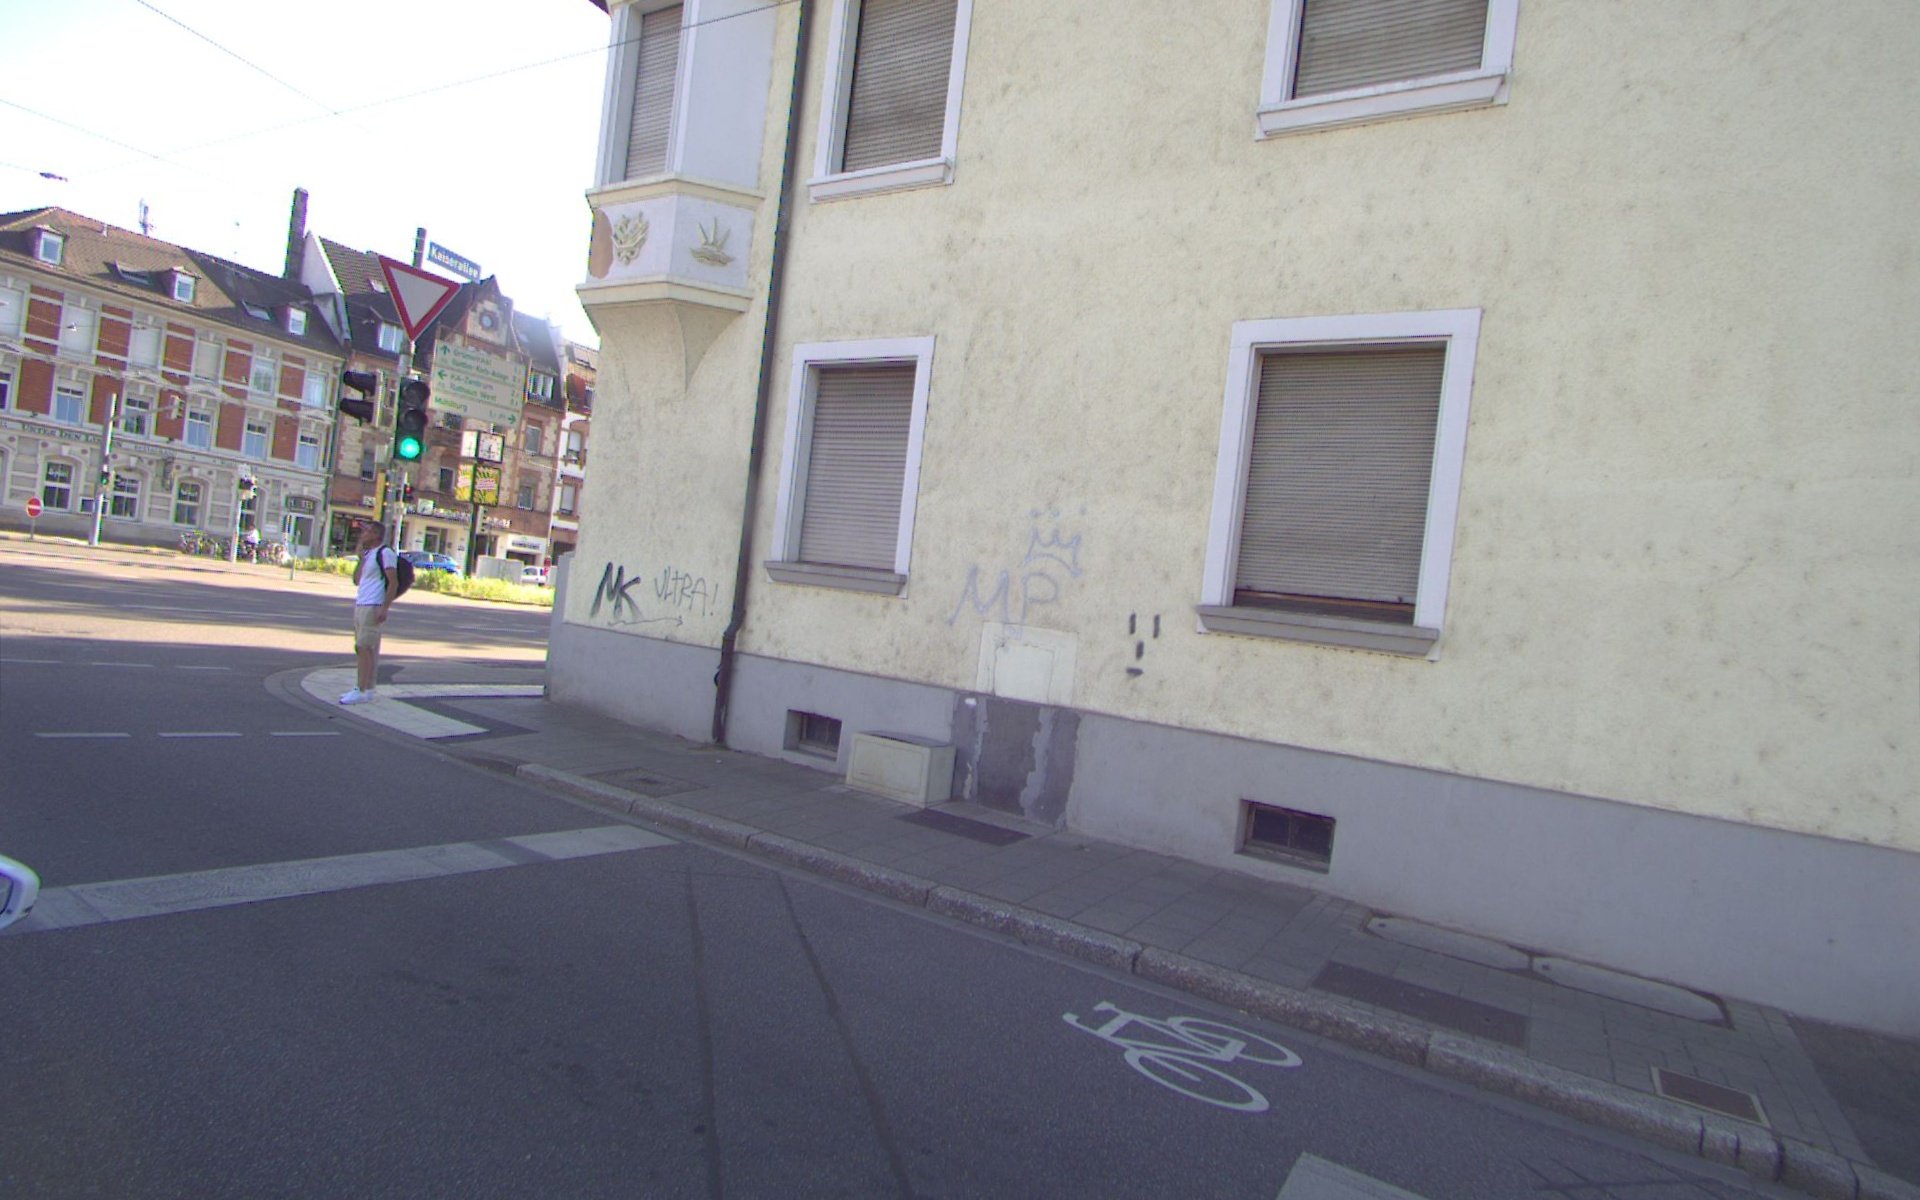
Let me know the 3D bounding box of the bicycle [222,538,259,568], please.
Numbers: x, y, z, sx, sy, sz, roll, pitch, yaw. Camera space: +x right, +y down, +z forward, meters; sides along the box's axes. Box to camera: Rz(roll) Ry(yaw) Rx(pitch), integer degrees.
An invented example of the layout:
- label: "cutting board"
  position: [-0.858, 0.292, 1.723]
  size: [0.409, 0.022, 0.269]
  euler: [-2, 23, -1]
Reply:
- label: "bicycle"
  position: [-33.864, -2.209, 47.331]
  size: [1.935, 1.205, 0.678]
  euler: [7, 0, 33]

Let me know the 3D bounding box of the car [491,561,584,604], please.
- label: "car"
  position: [-21.925, -0.900, 52.349]
  size: [1.922, 1.688, 3.993]
  euler: [7, -1, 31]

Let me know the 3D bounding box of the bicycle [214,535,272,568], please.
- label: "bicycle"
  position: [-32.401, -2.191, 45.473]
  size: [0.592, 1.205, 1.962]
  euler: [7, -1, 34]

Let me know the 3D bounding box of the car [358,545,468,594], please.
- label: "car"
  position: [-25.409, -1.380, 46.846]
  size: [1.922, 1.688, 3.993]
  euler: [7, -1, 31]

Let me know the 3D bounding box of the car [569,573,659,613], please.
- label: "car"
  position: [-19.407, -0.389, 56.615]
  size: [1.922, 1.687, 4.480]
  euler: [7, -1, 31]

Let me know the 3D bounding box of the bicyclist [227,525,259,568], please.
- label: "bicyclist"
  position: [-32.402, -2.418, 45.440]
  size: [0.592, 1.785, 0.873]
  euler: [7, 0, 34]

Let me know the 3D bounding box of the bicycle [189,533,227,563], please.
- label: "bicycle"
  position: [-34.550, -2.396, 46.202]
  size: [1.935, 1.205, 0.678]
  euler: [7, 0, 33]

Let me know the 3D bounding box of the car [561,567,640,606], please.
- label: "car"
  position: [-23.244, -0.839, 65.200]
  size: [1.922, 1.988, 4.411]
  euler: [7, -1, 31]

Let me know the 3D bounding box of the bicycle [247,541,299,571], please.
- label: "bicycle"
  position: [-32.887, -2.091, 48.182]
  size: [0.667, 1.205, 1.968]
  euler: [7, -1, 20]

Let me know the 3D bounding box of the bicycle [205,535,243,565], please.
- label: "bicycle"
  position: [-34.214, -2.326, 46.758]
  size: [1.935, 1.205, 0.678]
  euler: [7, 0, 33]

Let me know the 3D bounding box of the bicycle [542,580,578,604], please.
- label: "bicycle"
  position: [-23.941, -0.473, 60.185]
  size: [0.591, 1.205, 1.965]
  euler: [7, -1, 28]

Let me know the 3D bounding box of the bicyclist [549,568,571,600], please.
- label: "bicyclist"
  position: [-23.911, -0.973, 60.136]
  size: [0.591, 1.785, 0.905]
  euler: [7, 0, 29]

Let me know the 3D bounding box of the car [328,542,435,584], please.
- label: "car"
  position: [-27.834, -1.740, 48.483]
  size: [1.815, 1.429, 3.993]
  euler: [7, -1, 31]

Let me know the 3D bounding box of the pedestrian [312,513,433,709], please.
- label: "pedestrian"
  position: [-5.624, 0.102, 9.660]
  size: [0.661, 1.764, 0.689]
  euler: [5, 2, 2]

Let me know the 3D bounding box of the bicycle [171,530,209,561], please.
- label: "bicycle"
  position: [-34.889, -2.480, 45.588]
  size: [1.935, 1.205, 0.678]
  euler: [7, 0, 33]
